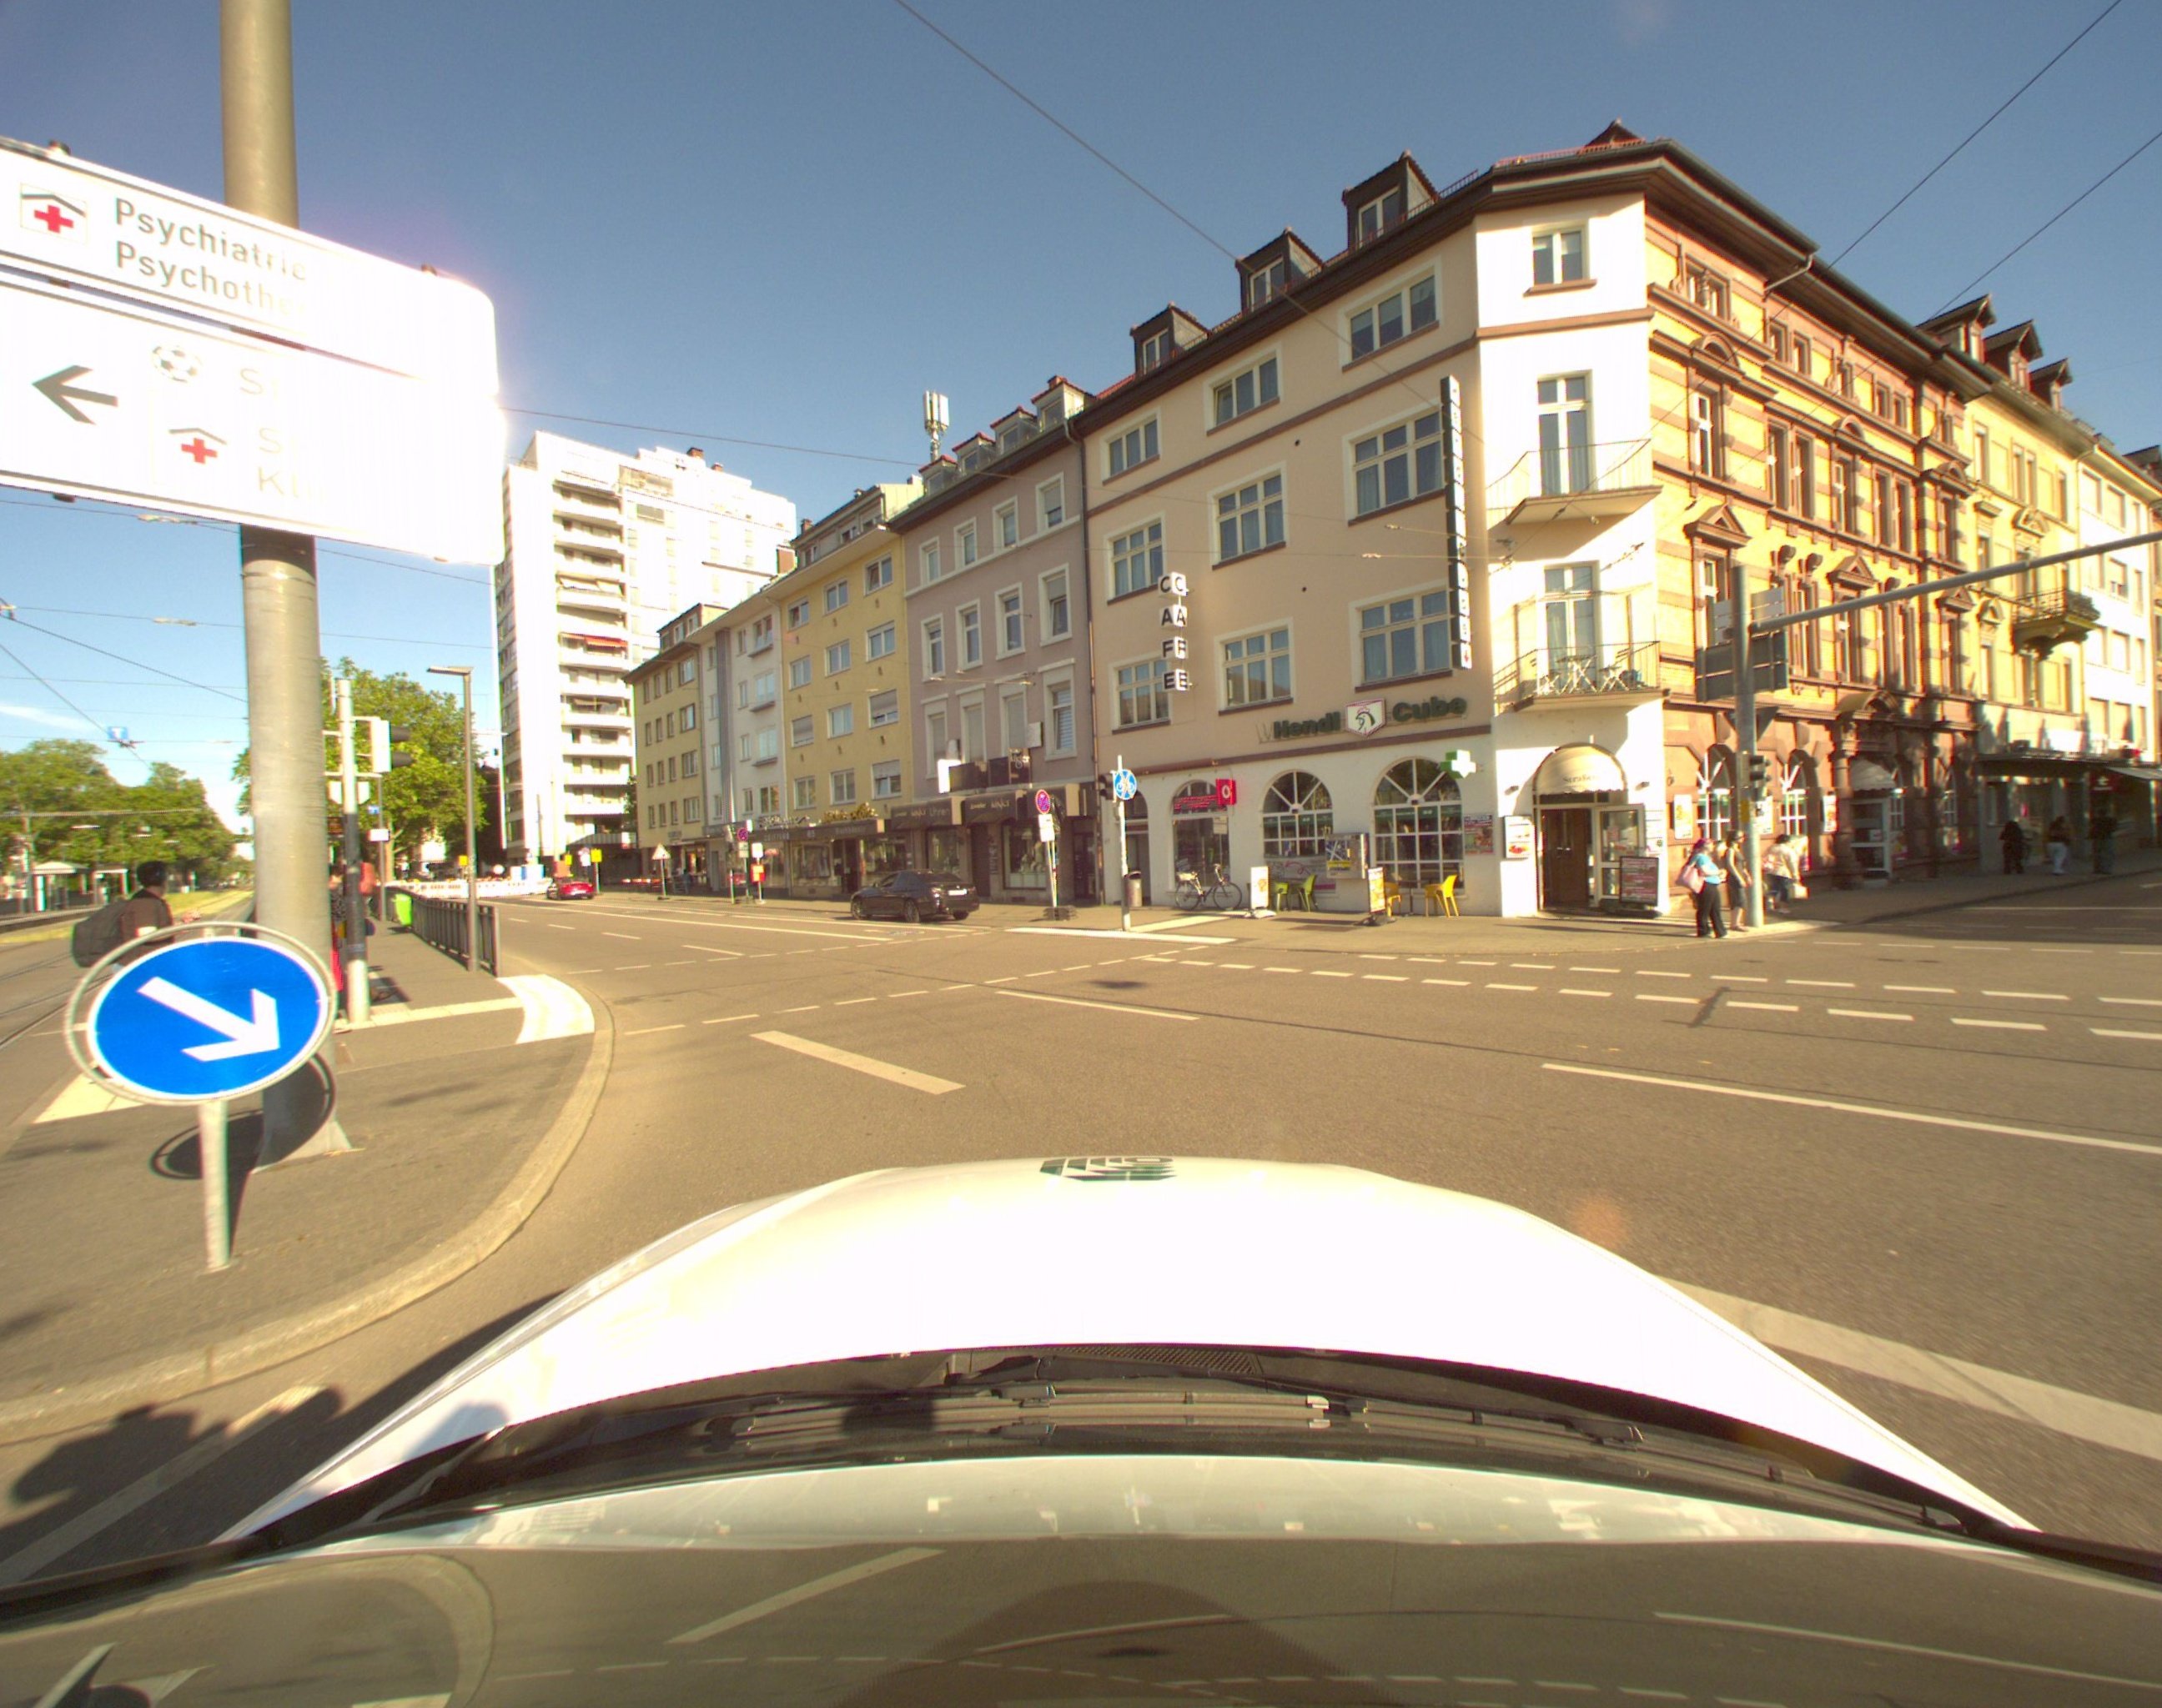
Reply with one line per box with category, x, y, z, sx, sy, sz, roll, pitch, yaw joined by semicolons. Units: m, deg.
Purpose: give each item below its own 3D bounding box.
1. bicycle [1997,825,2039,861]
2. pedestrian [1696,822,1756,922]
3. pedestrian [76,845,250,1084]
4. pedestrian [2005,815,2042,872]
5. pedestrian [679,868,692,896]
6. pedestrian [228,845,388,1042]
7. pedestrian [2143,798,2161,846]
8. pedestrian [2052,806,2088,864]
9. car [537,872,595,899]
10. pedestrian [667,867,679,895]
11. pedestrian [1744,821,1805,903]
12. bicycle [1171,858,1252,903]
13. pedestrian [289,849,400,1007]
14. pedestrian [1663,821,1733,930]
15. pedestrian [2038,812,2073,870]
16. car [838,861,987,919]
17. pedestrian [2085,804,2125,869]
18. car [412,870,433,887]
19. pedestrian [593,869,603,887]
bicycle;30.184;-0.352;26.228;1.775;1.067;0.492;-3;0;-29
pedestrian;10.962;0.296;13.848;0.554;1.641;0.626;-3;2;-32
pedestrian;-7.315;0.822;6.501;0.645;1.733;0.806;-3;0;37
pedestrian;27.765;-0.298;23.984;0.540;1.641;0.622;-3;0;-35
pedestrian;-22.532;1.601;46.354;0.511;1.562;0.460;-2;0;-42
pedestrian;-7.463;0.813;7.926;0.908;1.733;0.832;-3;0;-32
pedestrian;43.398;-1.304;32.757;0.635;1.908;0.678;-3;0;-29
pedestrian;28.975;-0.554;23.864;0.635;1.641;0.547;-3;0;-31
car;-30.910;1.891;48.826;3.949;1.430;1.954;-2;0;42
pedestrian;-24.849;1.630;49.555;0.474;1.644;0.502;-2;0;-43
pedestrian;13.550;0.152;15.912;0.662;1.524;0.688;-3;0;-31
bicycle;3.291;0.680;20.624;1.924;1.067;0.587;-3;0;35
pedestrian;-8.676;0.833;9.637;0.827;1.733;0.780;-3;0;-36
pedestrian;9.744;0.332;12.869;0.580;1.641;0.670;-3;0;-32
pedestrian;28.050;-0.380;23.431;0.540;1.641;0.546;-3;0;-34
car;-4.902;1.016;23.296;4.595;1.440;1.755;-2;0;42
pedestrian;29.557;-0.496;23.508;0.635;1.836;0.576;-3;0;-29
car;-84.690;3.156;104.683;2.010;2.013;3.953;-3;0;-39
pedestrian;-45.919;2.291;77.385;0.681;1.641;0.572;-3;1;-38
